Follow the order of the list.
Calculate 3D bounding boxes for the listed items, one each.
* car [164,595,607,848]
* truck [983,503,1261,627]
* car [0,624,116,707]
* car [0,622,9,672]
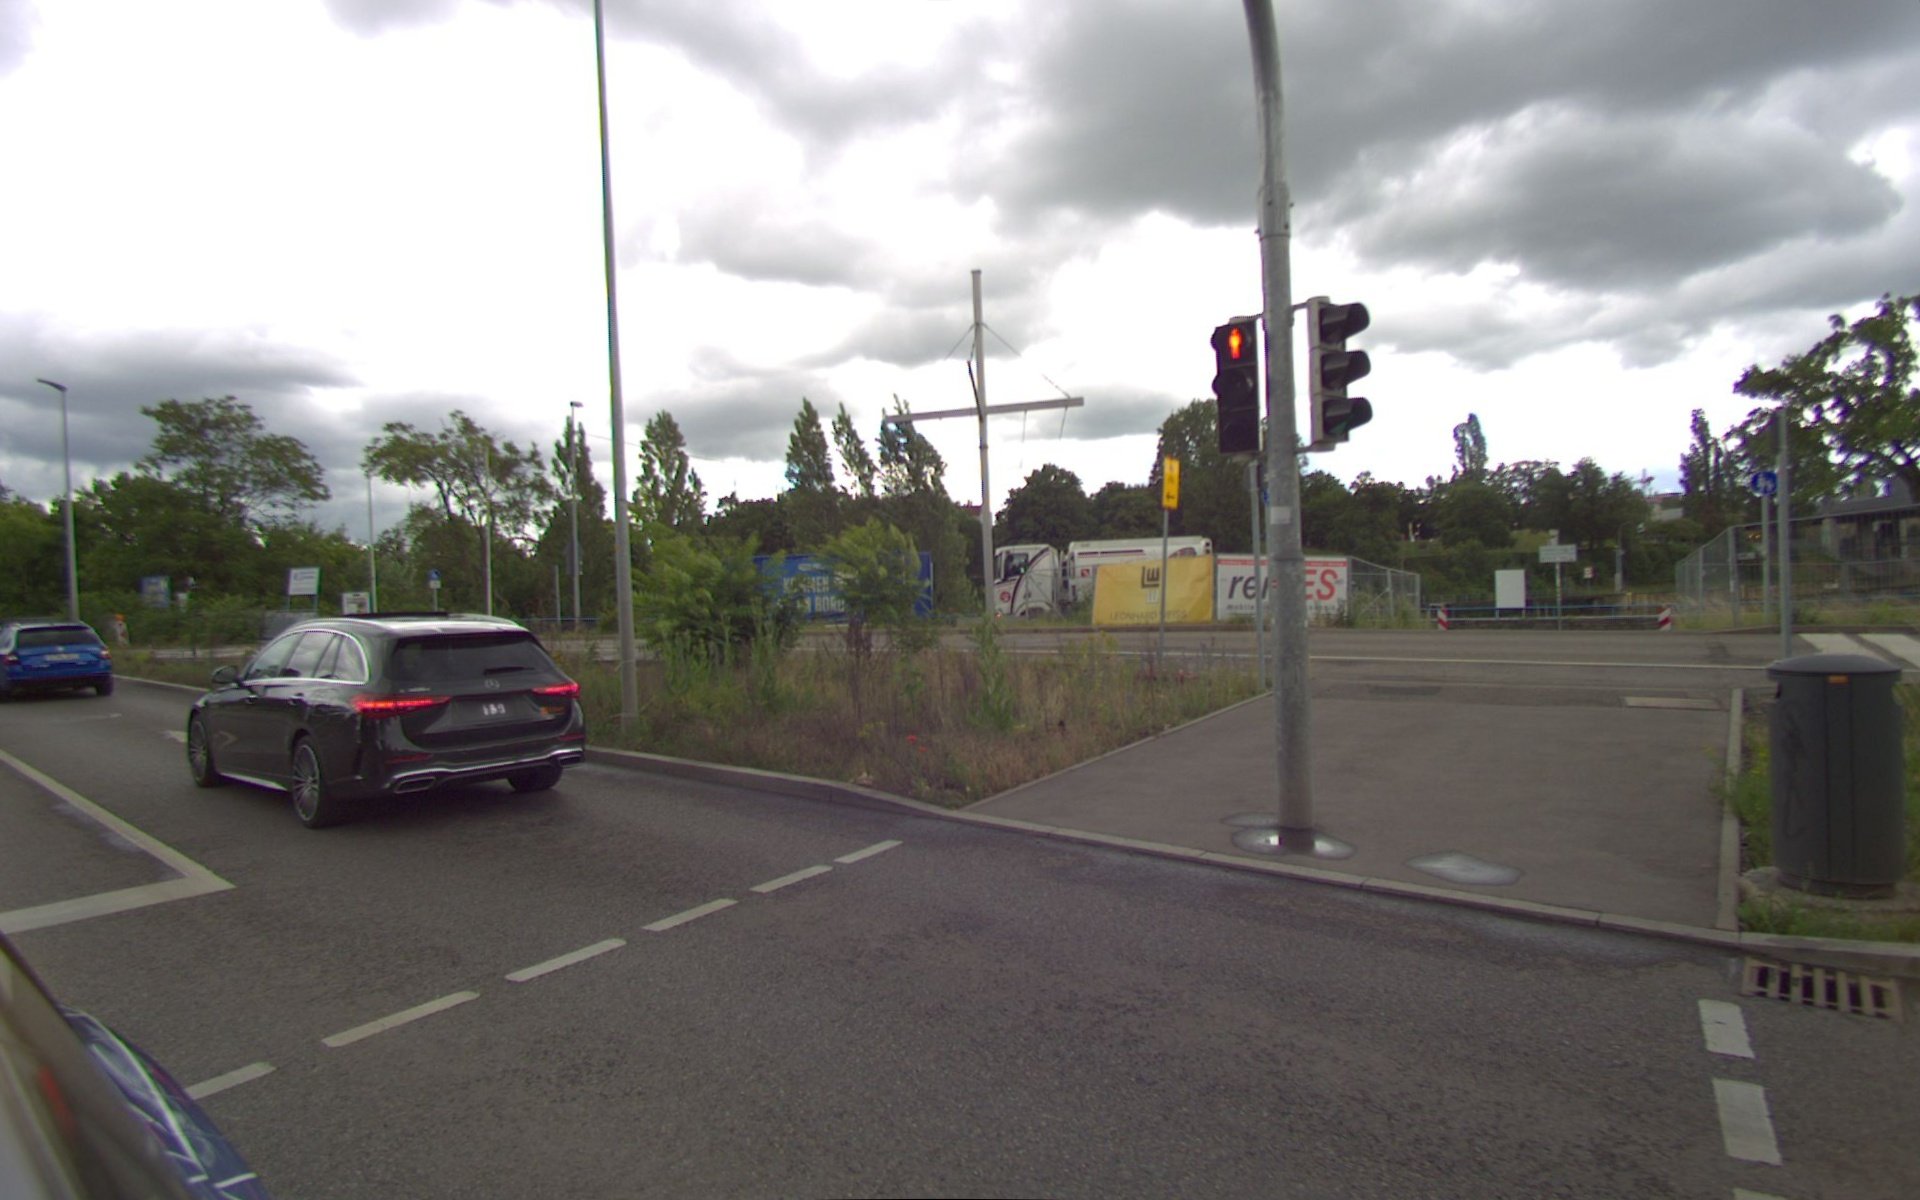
[{"bbox_3d":[-4.875,0.786,8.288,4.441,1.540,1.713,-2,-1,40],"label":"car"},{"bbox_3d":[5.176,-1.016,32.785,8.393,3.361,2.790,-3,-1,13],"label":"truck"},{"bbox_3d":[-18.327,1.229,20.053,4.441,1.432,1.713,-2,-1,40],"label":"car"},{"bbox_3d":[-31.886,1.532,32.404,4.081,1.528,1.575,-2,1,40],"label":"car"}]
